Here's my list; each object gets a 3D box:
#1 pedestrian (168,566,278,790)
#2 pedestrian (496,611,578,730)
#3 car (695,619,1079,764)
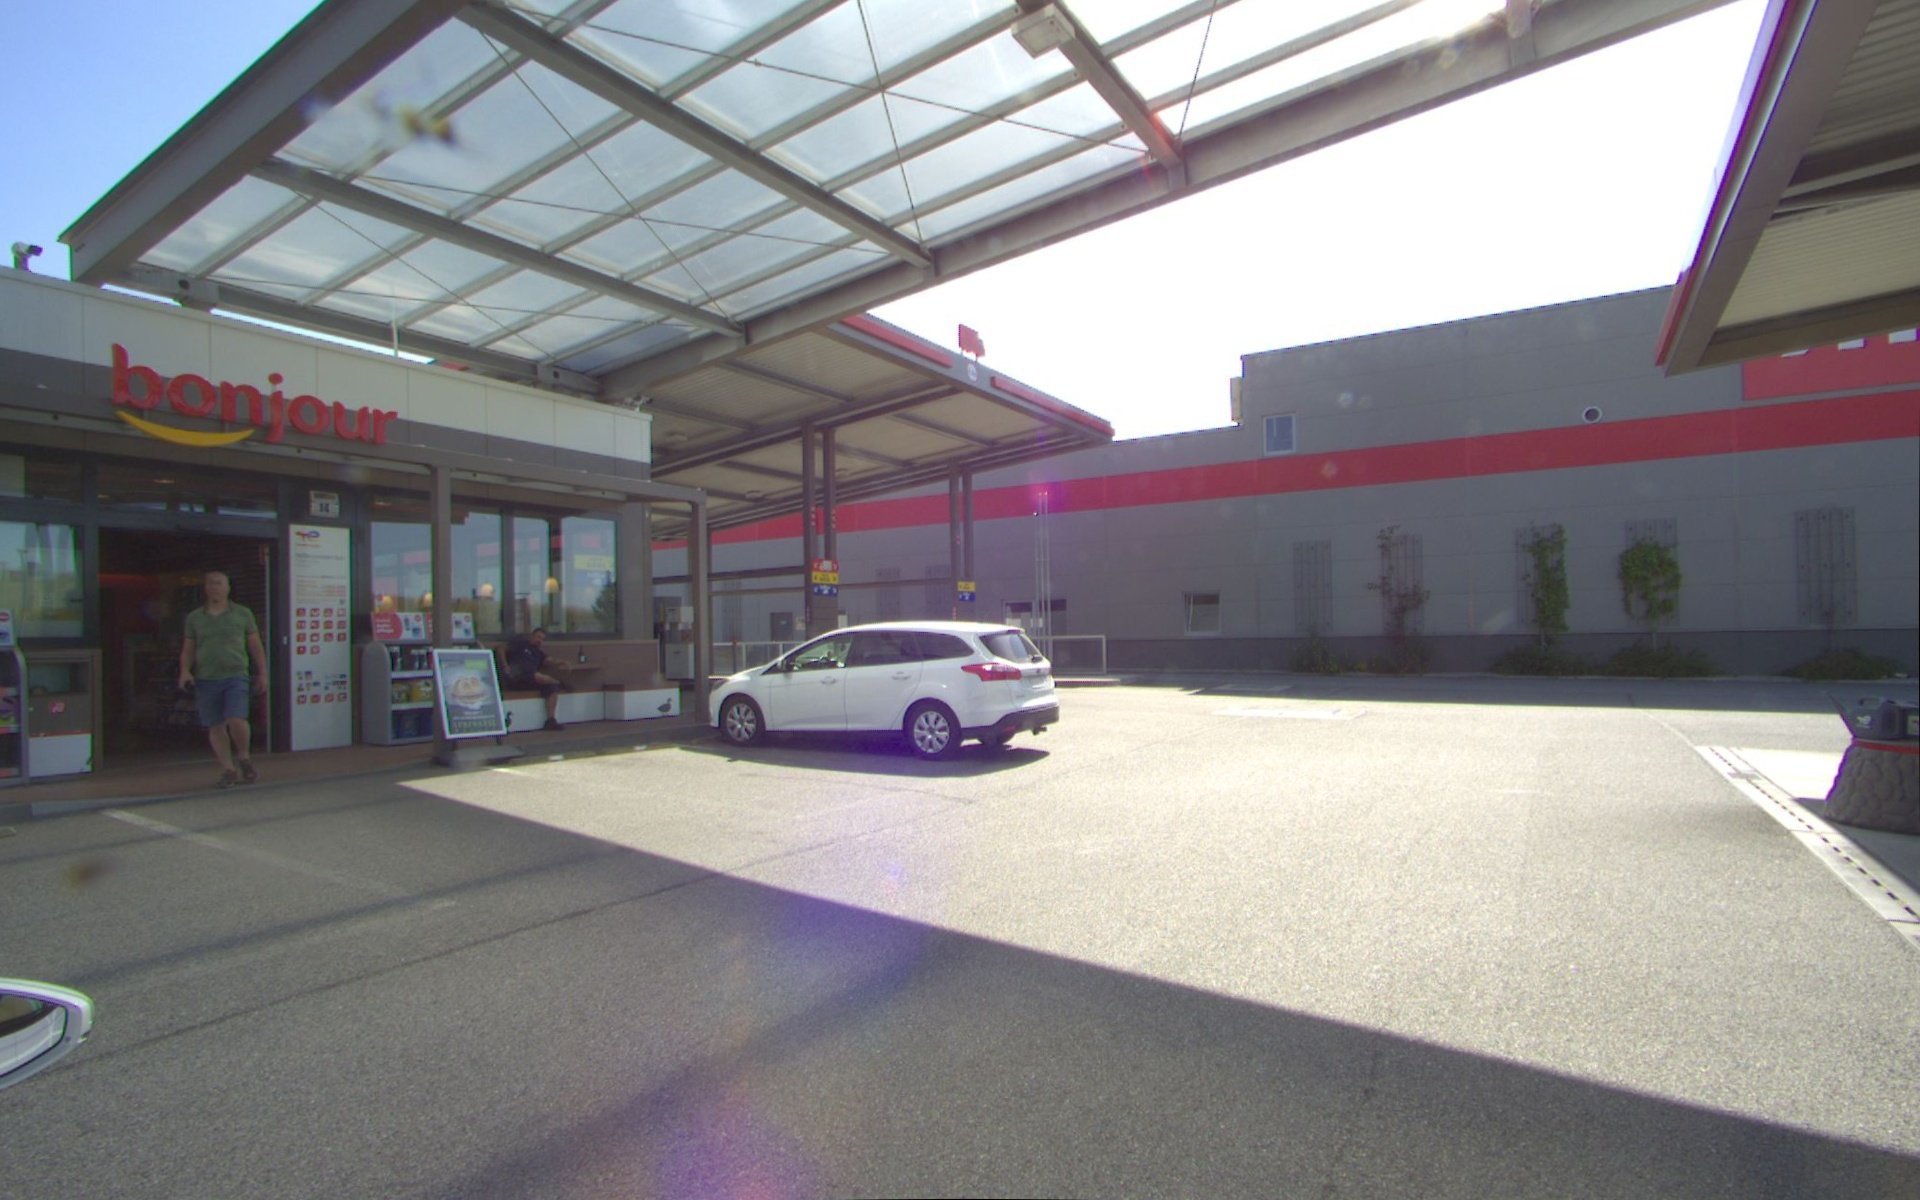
[{"bbox_3d":[-6.362,0.644,8.688,0.694,1.820,0.857,0,-1,-32],"label":"pedestrian"},{"bbox_3d":[-5.335,0.867,12.631,0.663,1.450,0.700,-1,-1,30],"label":"pedestrian"},{"bbox_3d":[-0.892,0.988,11.984,4.251,1.475,1.830,-1,-1,26],"label":"car"}]
